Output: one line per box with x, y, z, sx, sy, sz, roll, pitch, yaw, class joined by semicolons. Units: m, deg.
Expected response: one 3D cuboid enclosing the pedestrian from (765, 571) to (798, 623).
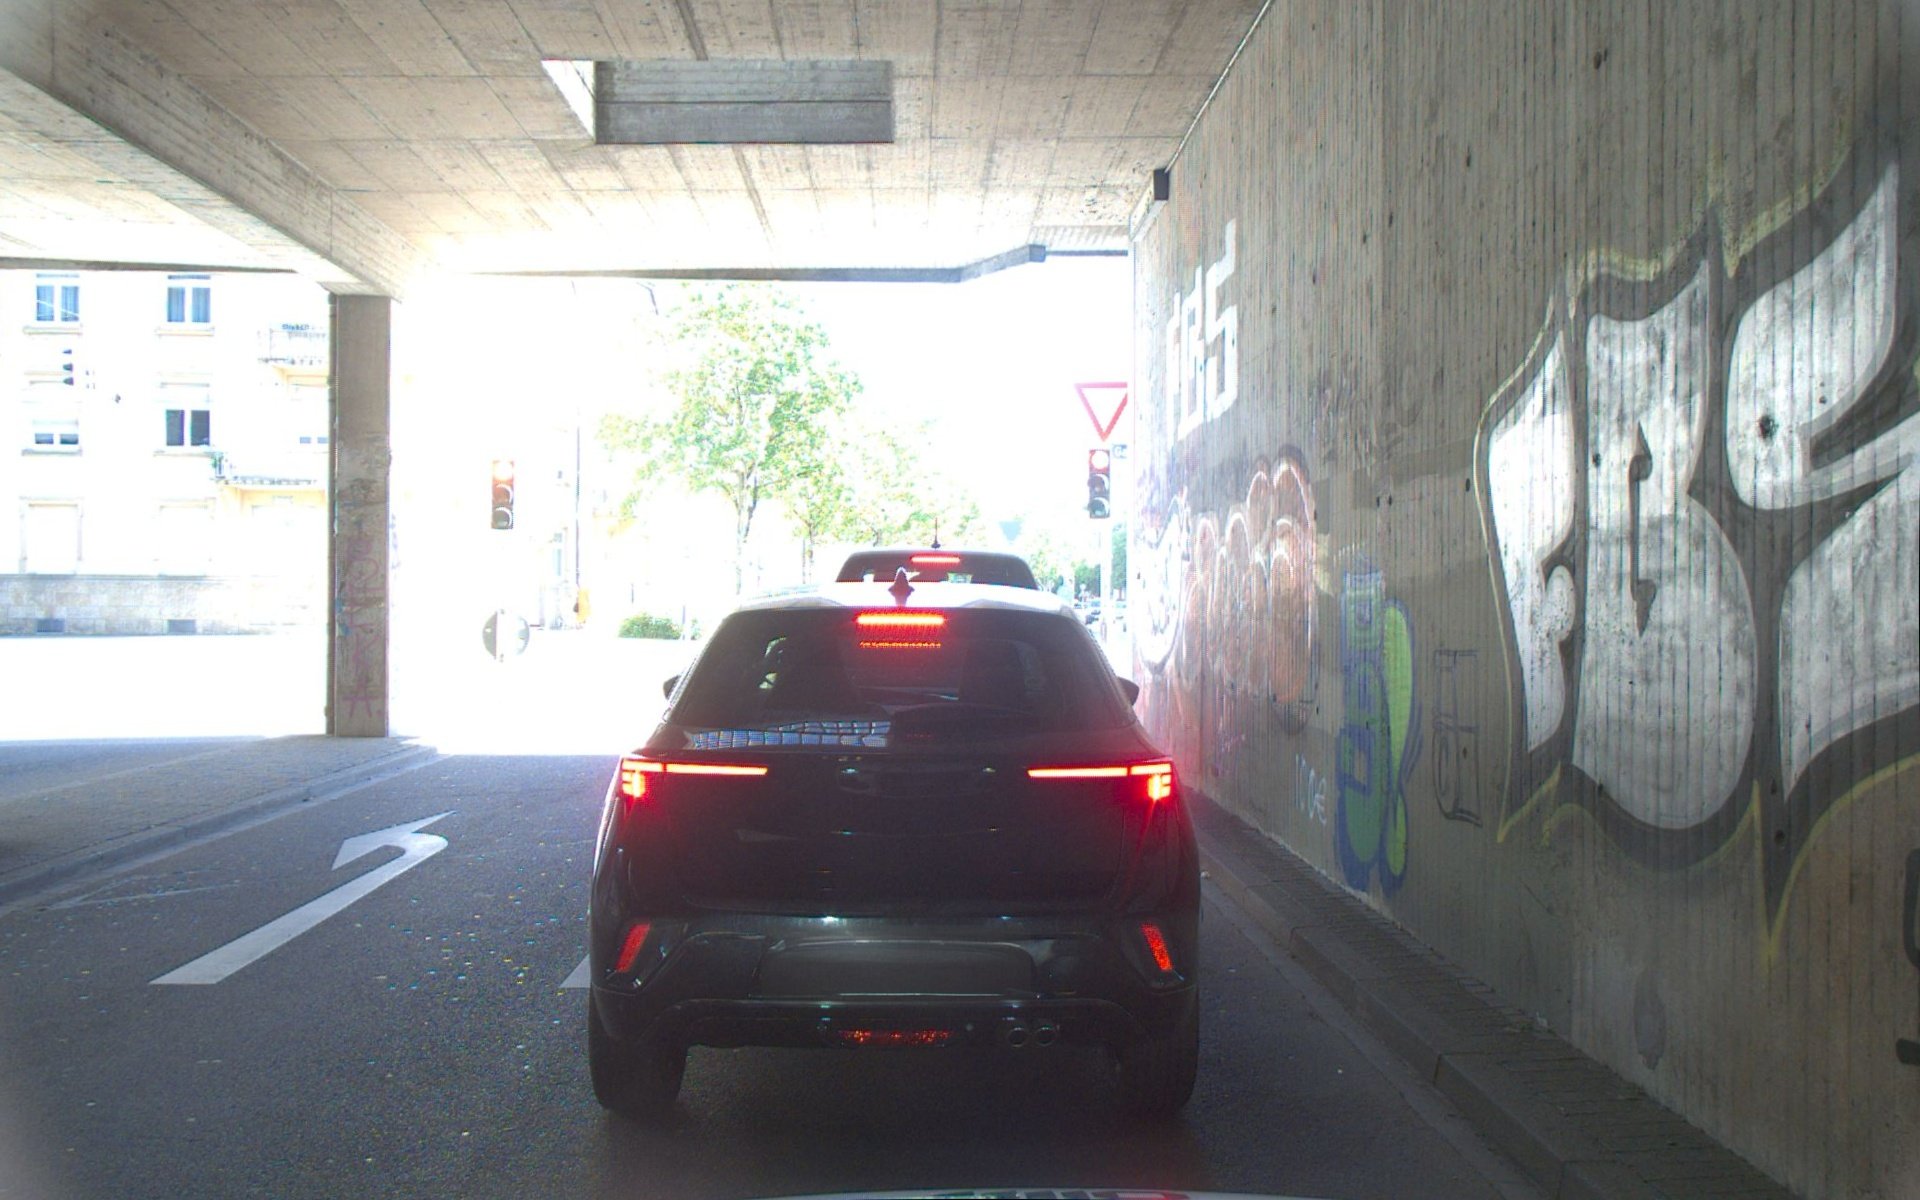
-5.544;-0.090;51.316;0.720;1.612;0.891;1;-1;15;pedestrian

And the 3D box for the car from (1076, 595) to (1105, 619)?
8.231;0.428;104.110;1.564;1.477;3.798;0;0;9;car

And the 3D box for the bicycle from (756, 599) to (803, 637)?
-5.570;0.555;51.230;0.721;1.150;2.027;0;0;16;bicycle

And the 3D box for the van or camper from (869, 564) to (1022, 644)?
-0.347;0.088;43.634;3.795;2.049;2.002;0;0;7;van or camper

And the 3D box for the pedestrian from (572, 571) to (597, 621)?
-13.214;-0.132;58.203;0.609;1.734;0.724;1;-1;10;pedestrian

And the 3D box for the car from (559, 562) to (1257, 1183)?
-0.143;0.672;6.136;1.718;1.525;4.000;1;0;-1;car

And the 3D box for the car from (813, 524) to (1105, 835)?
-0.030;0.473;12.038;1.749;1.865;3.960;1;0;-1;car

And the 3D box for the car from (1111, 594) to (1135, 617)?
12.020;0.371;121.732;1.550;1.668;3.809;0;0;9;car
